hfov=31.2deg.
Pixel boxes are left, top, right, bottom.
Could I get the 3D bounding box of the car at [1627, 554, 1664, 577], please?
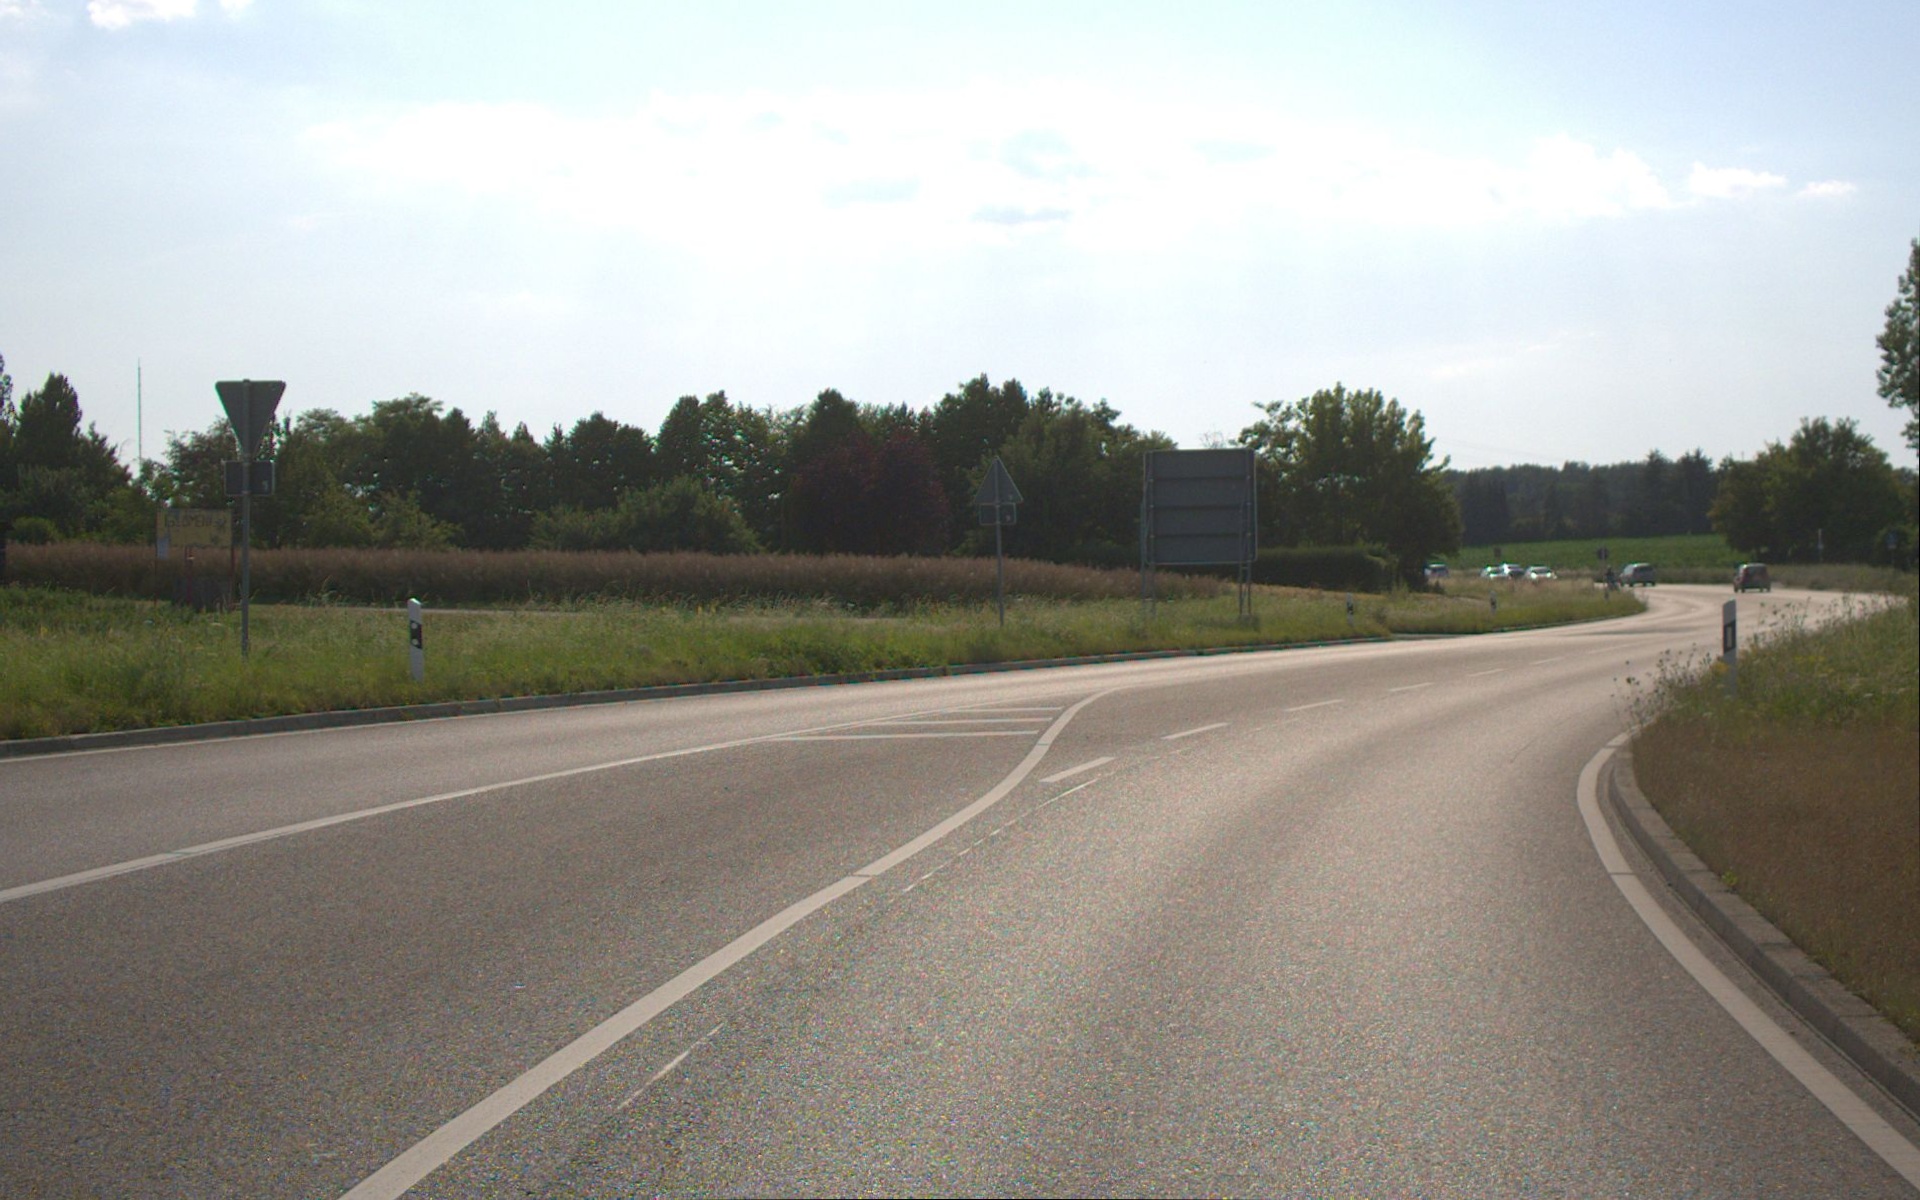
[{"bbox_3d":[44.986,-2.238,225.731,1.850,1.403,3.644,2,0,3],"label":"car"}]
